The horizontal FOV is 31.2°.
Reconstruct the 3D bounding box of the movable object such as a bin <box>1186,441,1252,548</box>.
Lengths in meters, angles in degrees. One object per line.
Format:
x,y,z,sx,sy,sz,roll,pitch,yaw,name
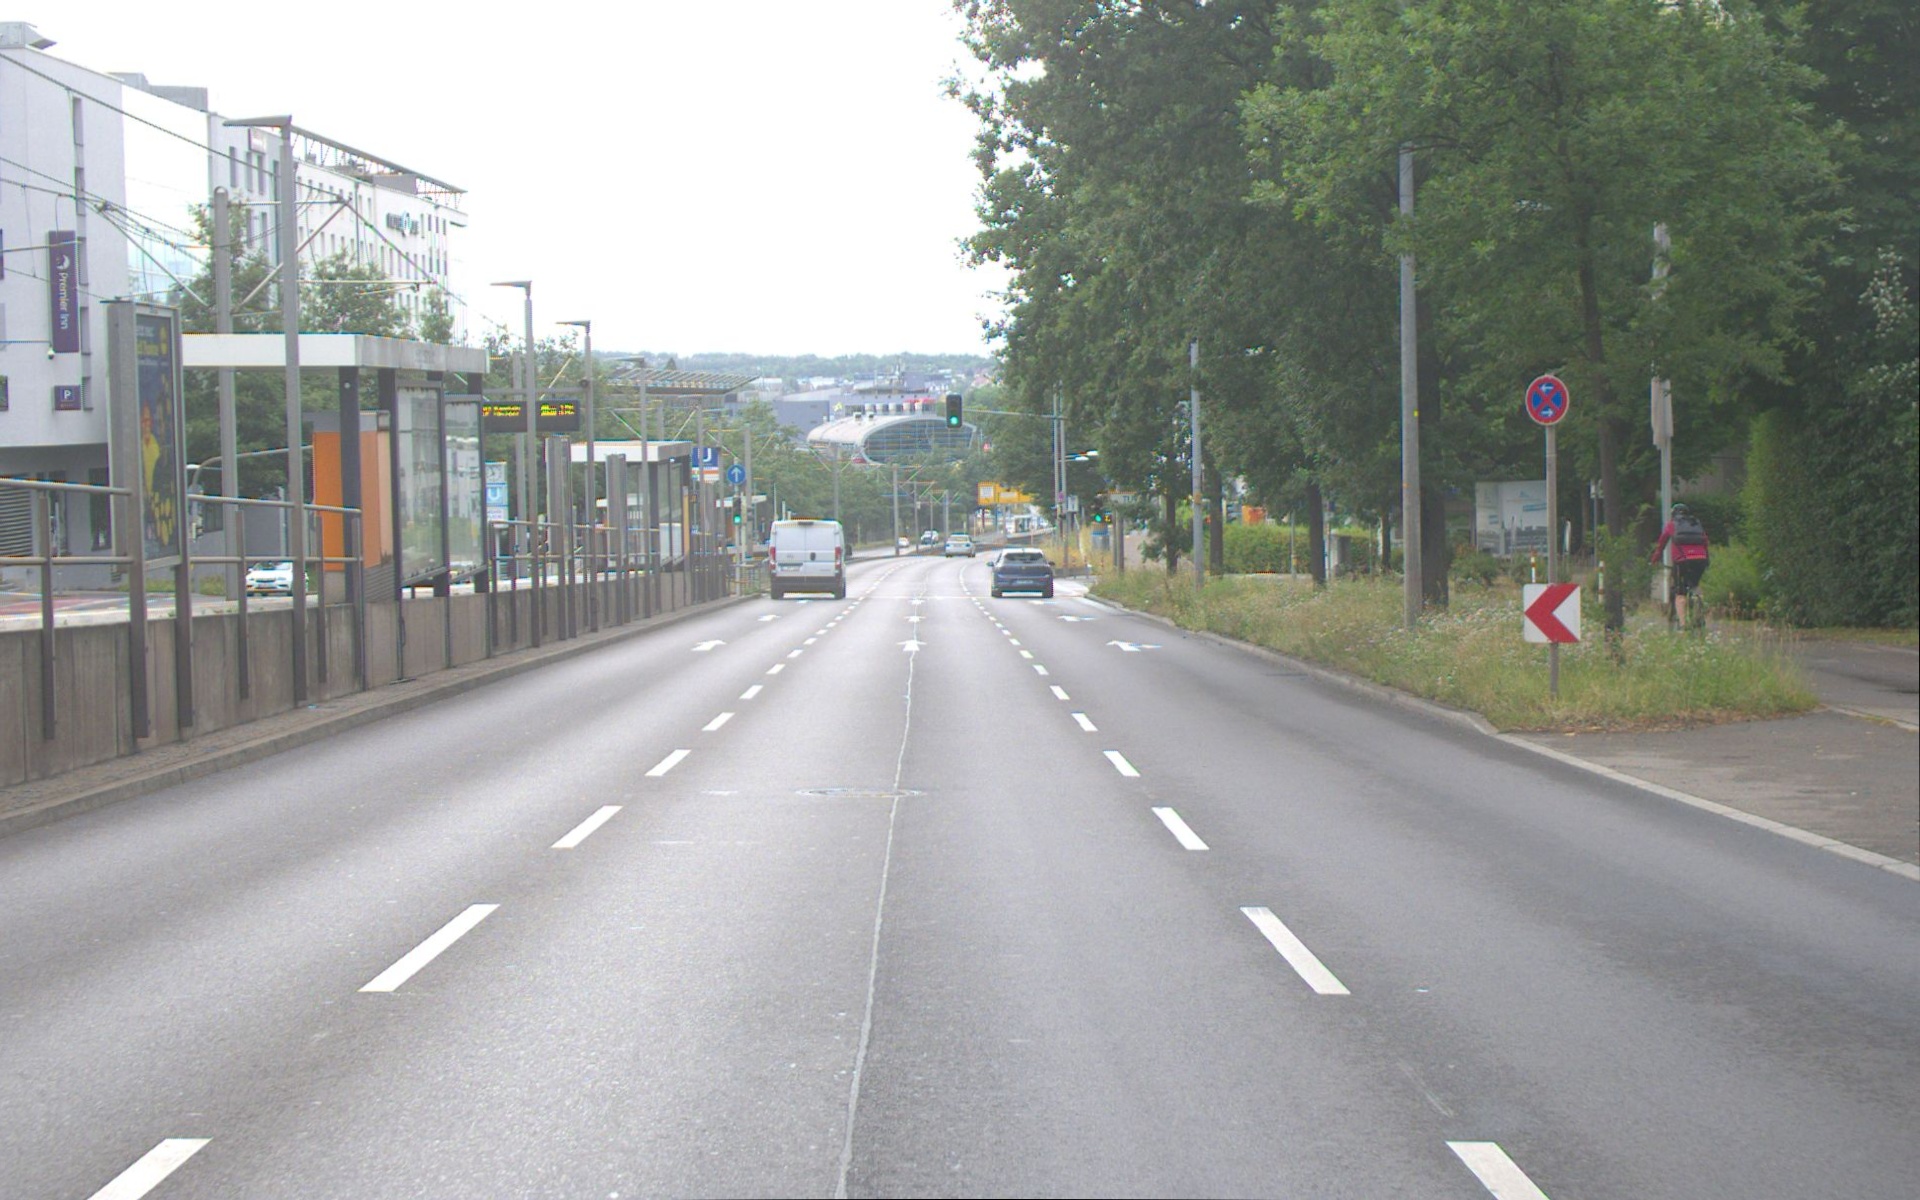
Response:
14.132,-5.723,188.343,3.290,5.665,8.763,1,1,3,movable object such as a bin

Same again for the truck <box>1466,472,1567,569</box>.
14.771,-2.091,91.384,1.746,2.509,4.001,1,1,-4,truck

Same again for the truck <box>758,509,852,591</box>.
-4.411,-1.415,98.597,2.360,2.254,5.306,1,1,1,truck

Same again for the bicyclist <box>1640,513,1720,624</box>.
8.560,-0.379,40.892,0.655,1.284,1.219,1,1,-1,bicyclist

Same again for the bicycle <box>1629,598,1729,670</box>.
8.544,0.389,40.941,0.667,0.806,2.318,1,1,-1,bicycle

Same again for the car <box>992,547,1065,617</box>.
2.050,-0.540,102.155,1.994,2.007,3.934,1,1,3,car
